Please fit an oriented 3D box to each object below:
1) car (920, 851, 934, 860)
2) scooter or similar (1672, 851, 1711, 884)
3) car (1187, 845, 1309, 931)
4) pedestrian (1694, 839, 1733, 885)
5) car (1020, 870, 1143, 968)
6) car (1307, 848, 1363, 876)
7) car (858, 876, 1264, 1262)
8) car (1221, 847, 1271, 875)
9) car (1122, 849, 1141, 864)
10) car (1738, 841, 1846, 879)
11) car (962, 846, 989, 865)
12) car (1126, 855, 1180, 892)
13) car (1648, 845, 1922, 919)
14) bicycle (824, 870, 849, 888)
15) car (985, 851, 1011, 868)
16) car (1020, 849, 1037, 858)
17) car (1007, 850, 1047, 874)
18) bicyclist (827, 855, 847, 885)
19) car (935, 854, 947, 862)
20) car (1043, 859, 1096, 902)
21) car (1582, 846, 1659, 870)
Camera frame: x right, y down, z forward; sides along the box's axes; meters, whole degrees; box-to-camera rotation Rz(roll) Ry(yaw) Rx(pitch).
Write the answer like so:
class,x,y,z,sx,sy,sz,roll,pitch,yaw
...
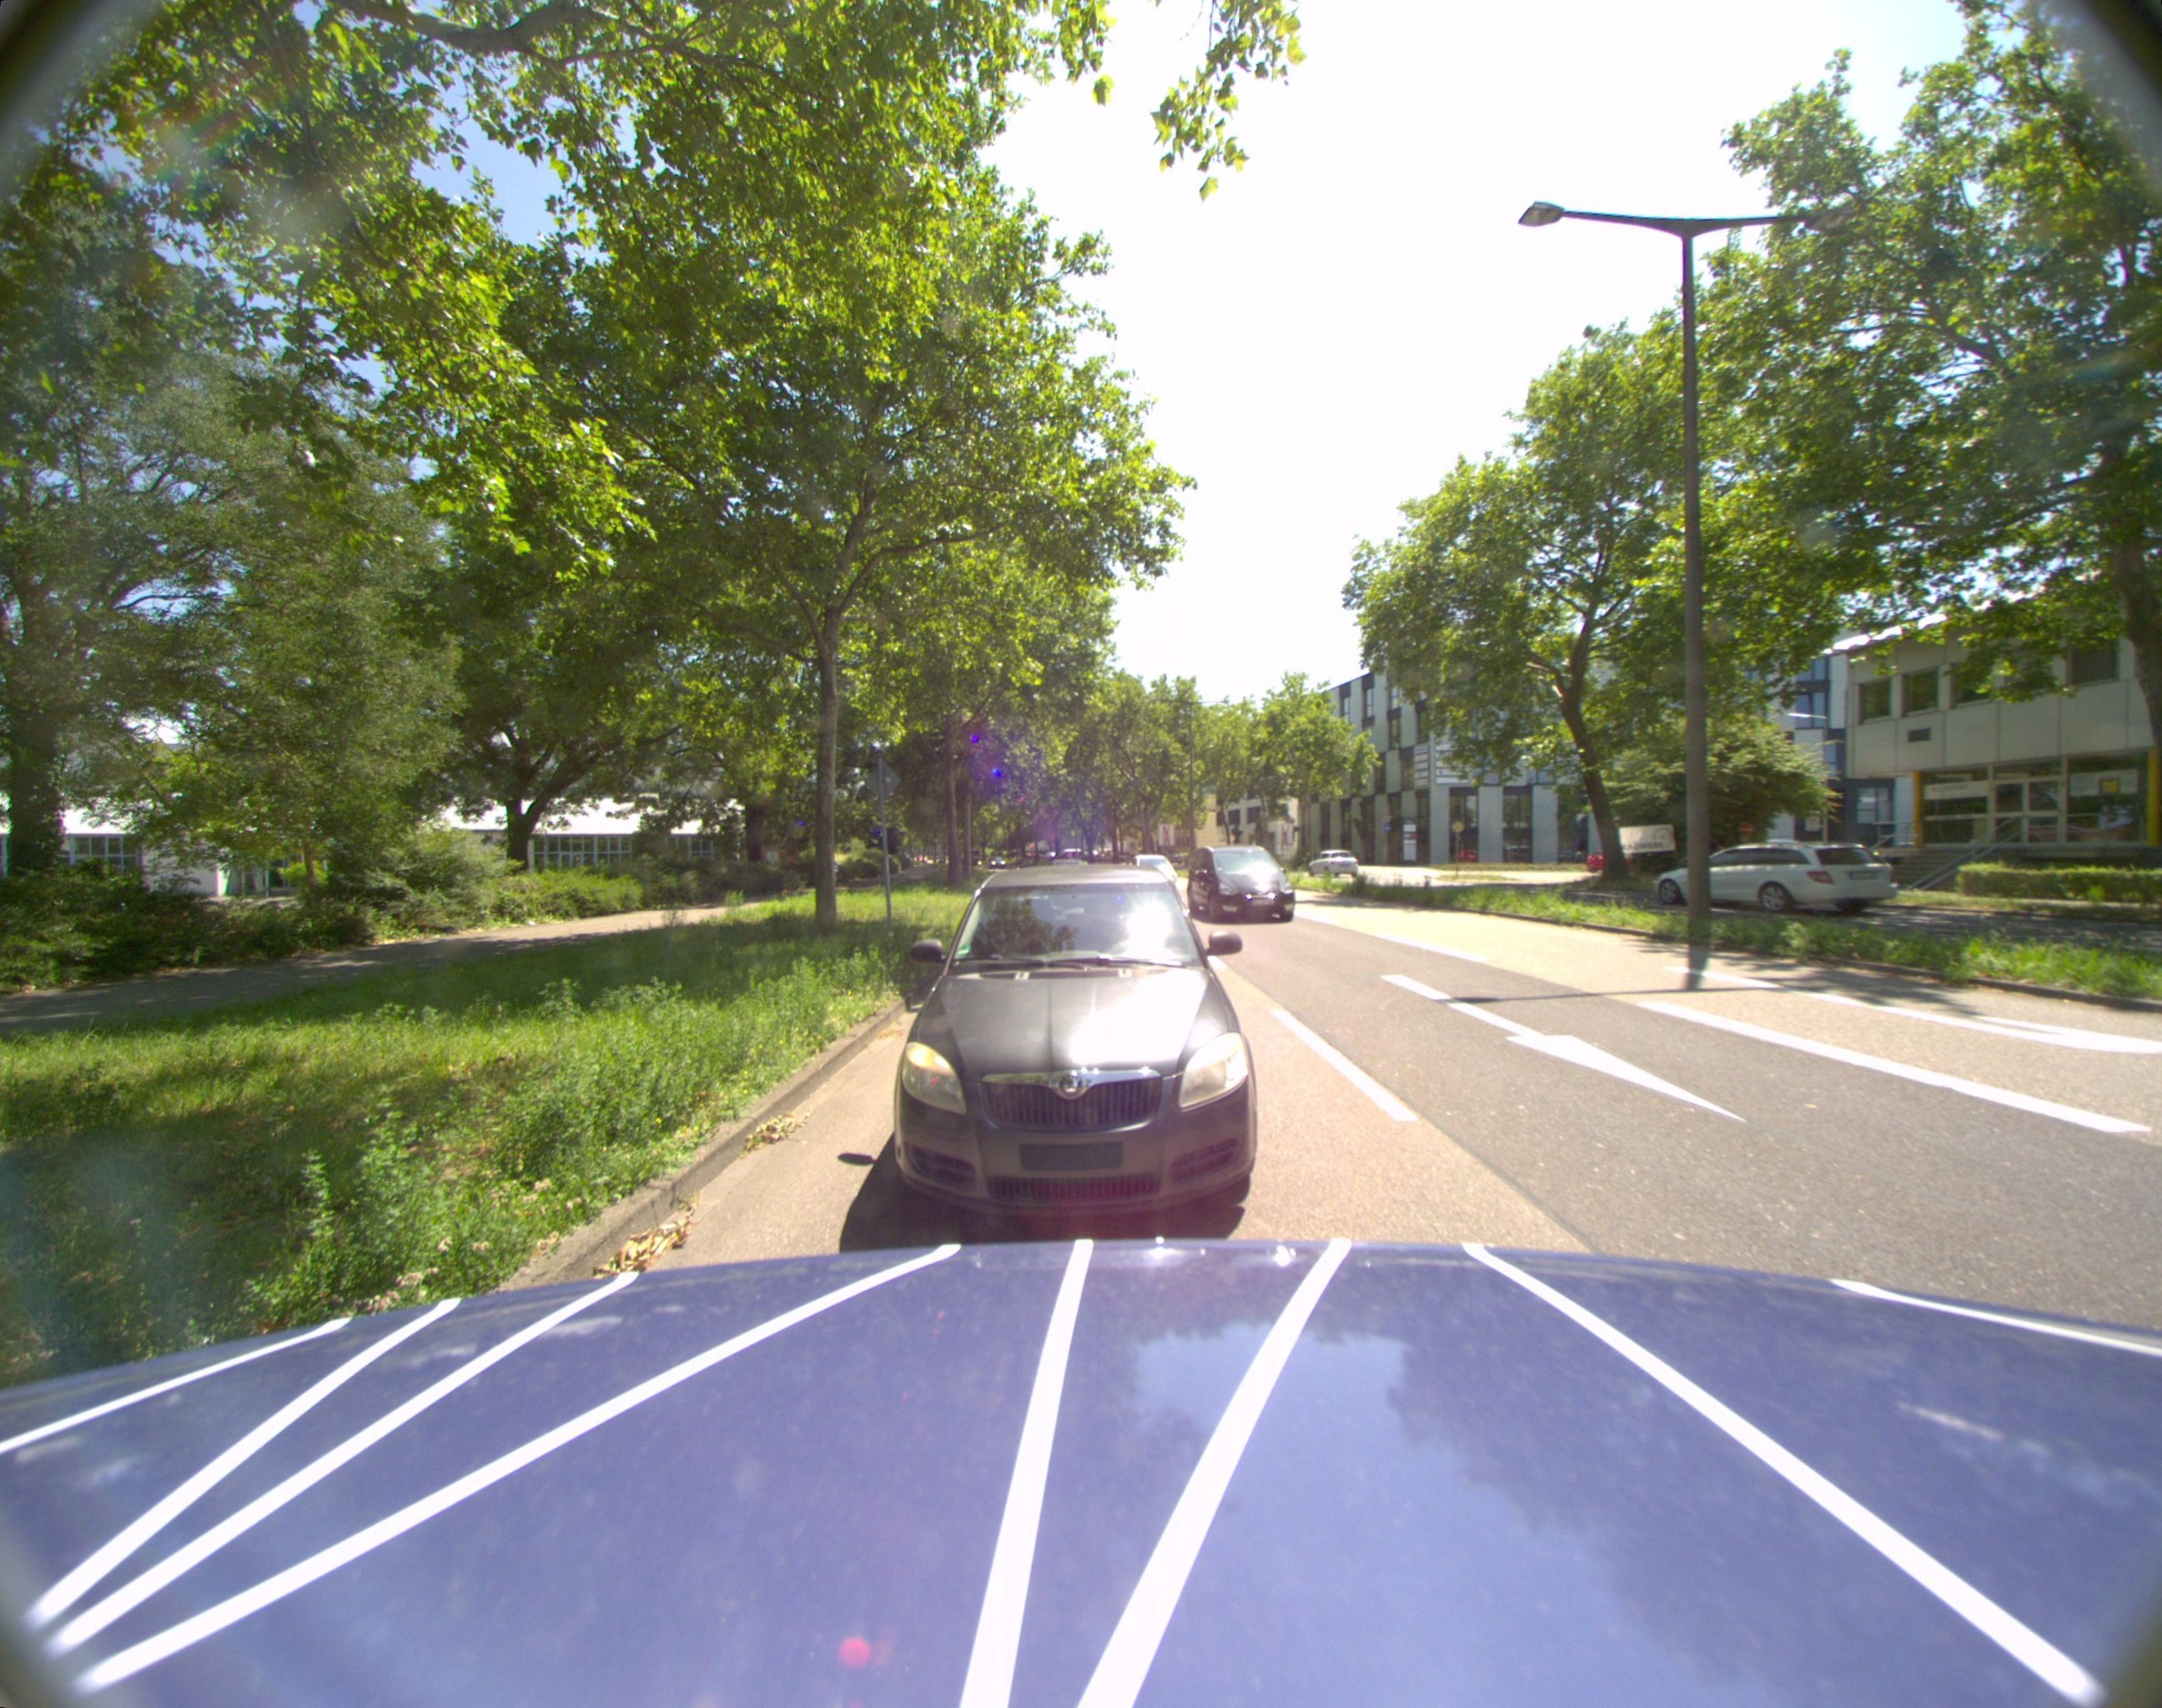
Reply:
class,x,y,z,sx,sy,sz,roll,pitch,yaw
car,-30.868,0.275,152.340,2.002,1.827,3.992,-1,0,-22
scooter or similar,21.676,0.465,26.979,0.680,1.157,0.859,-1,1,-5
car,3.798,0.708,18.130,1.859,1.745,4.648,-1,0,0
pedestrian,21.760,0.261,26.151,0.643,1.551,0.791,-1,1,-6
car,0.032,1.002,13.198,1.791,1.325,3.742,-2,0,1
car,14.271,0.422,42.890,1.737,1.450,3.672,-1,0,-4
car,-0.056,0.952,5.091,1.654,1.453,3.865,-1,0,1
car,10.176,0.422,47.250,1.954,1.646,4.620,-1,0,-2
car,5.343,0.258,81.147,1.537,1.519,2.852,-1,0,-6
car,32.821,0.246,35.200,1.819,1.638,3.528,-2,1,4
car,-15.581,0.180,111.980,2.922,2.639,6.356,-1,1,-17
car,2.948,0.774,31.638,1.623,1.437,3.650,-1,0,-5
car,15.306,0.539,16.962,1.858,1.410,4.547,-1,0,-1
bicycle,-11.216,1.143,34.905,0.465,0.760,1.669,-1,0,6
car,-9.640,0.629,87.965,2.002,1.783,3.993,-1,0,-21
car,-9.686,-0.117,139.487,1.957,1.600,3.993,-1,0,-20
car,-4.391,0.621,61.271,2.002,1.870,3.993,-1,0,-23
bicyclist,-11.227,0.727,34.970,0.600,1.331,0.666,-1,1,6
car,-24.914,0.630,135.435,1.510,1.379,3.422,-1,0,-19
car,-0.378,0.956,29.164,1.878,1.448,3.786,-2,0,1
car,33.448,0.237,47.145,3.526,1.453,1.678,-1,0,6
